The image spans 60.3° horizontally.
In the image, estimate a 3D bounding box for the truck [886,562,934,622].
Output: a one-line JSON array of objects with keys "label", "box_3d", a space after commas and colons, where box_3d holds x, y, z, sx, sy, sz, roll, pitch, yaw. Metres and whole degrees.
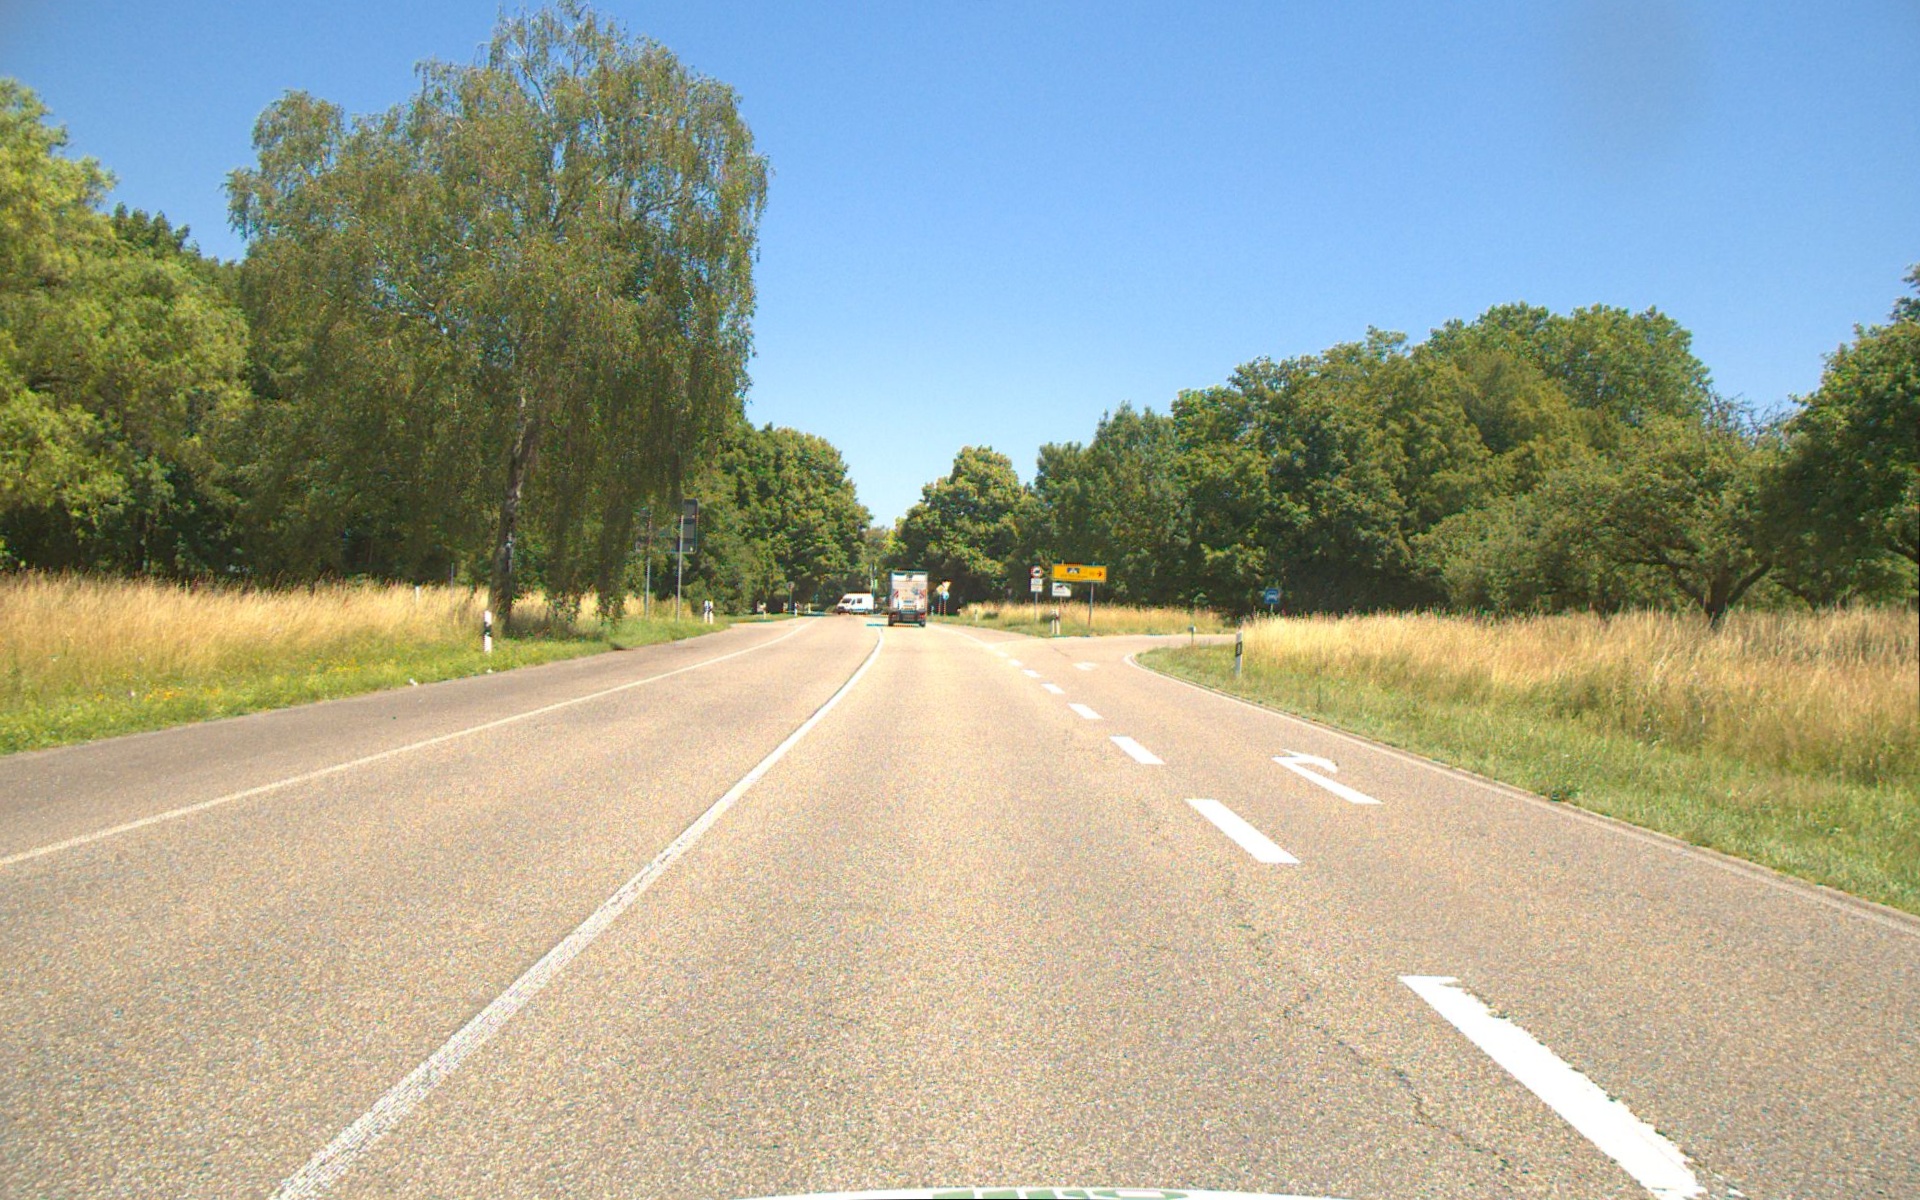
[{"label": "truck", "box_3d": [-2.750, -0.456, 92.496, 2.482, 3.190, 5.361, 1, 0, 0]}]

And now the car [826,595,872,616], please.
[{"label": "car", "box_3d": [-14.785, 0.703, 221.288, 2.041, 2.673, 6.748, 0, -1, 40]}]
